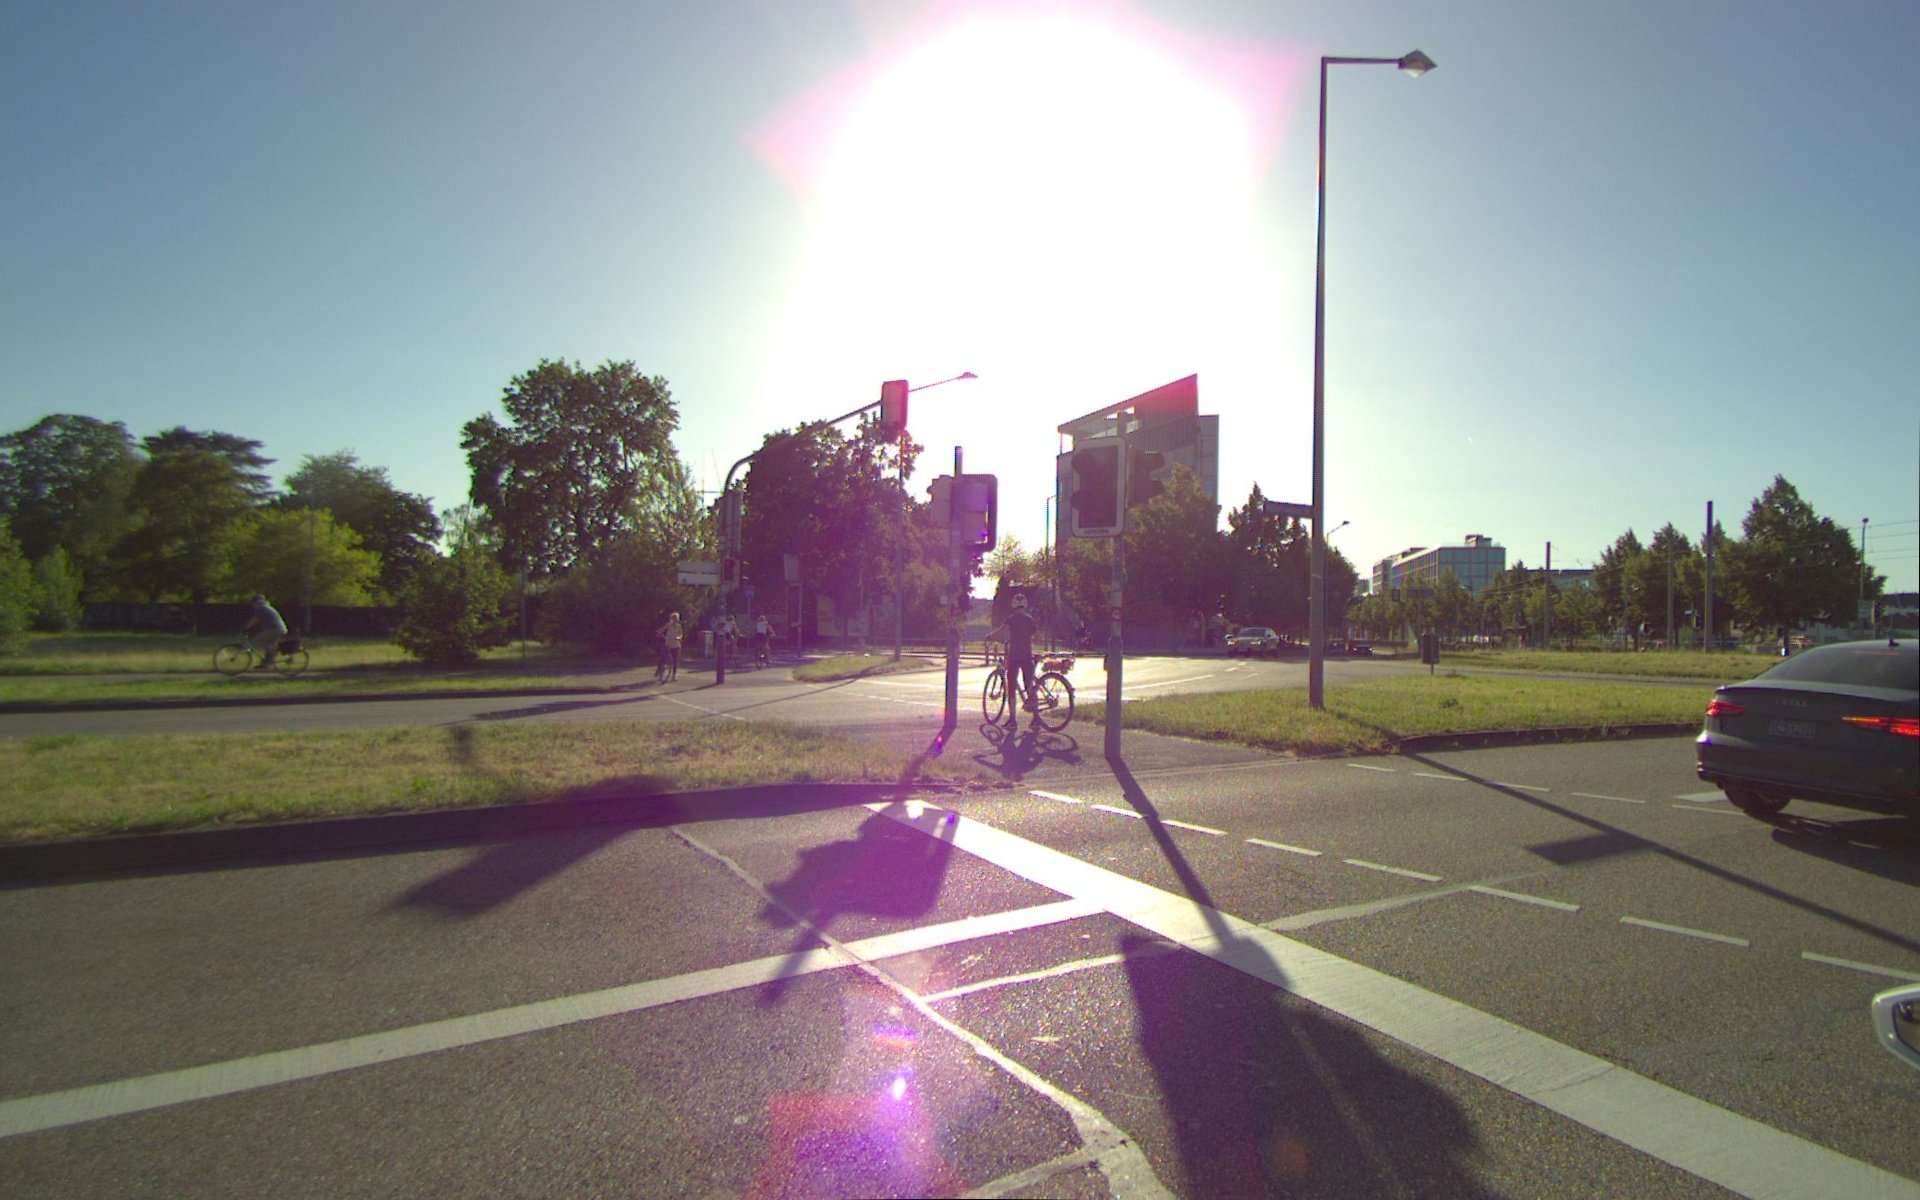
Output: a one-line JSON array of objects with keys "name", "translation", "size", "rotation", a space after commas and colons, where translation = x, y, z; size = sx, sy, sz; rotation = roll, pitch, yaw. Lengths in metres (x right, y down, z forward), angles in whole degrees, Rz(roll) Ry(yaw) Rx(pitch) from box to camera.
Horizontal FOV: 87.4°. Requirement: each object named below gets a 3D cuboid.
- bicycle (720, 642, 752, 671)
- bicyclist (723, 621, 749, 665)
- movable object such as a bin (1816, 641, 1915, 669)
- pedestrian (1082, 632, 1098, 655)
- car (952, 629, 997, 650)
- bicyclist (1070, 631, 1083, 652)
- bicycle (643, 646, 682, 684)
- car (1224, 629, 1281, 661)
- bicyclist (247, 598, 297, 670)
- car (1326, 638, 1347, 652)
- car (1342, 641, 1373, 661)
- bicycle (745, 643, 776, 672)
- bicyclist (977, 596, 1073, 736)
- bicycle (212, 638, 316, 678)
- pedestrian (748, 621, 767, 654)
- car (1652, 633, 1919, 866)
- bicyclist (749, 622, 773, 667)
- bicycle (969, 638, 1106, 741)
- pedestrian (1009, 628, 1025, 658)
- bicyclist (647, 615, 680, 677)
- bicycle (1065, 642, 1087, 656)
[{"name": "bicycle", "translation": [-7.229, 1.806, 32.420], "size": [0.605, 0.864, 1.889], "rotation": [1, -1, 0]}, {"name": "bicyclist", "translation": [-7.239, 1.382, 32.477], "size": [0.605, 1.411, 0.837], "rotation": [1, -1, -1]}, {"name": "movable object such as a bin", "translation": [103.261, 6.267, 114.674], "size": [7.774, 2.819, 2.945], "rotation": [1, -1, 17]}, {"name": "pedestrian", "translation": [9.480, 3.144, 73.379], "size": [0.872, 1.651, 0.758], "rotation": [0, -2, 40]}, {"name": "car", "translation": [1.309, 3.550, 90.778], "size": [3.701, 1.829, 1.824], "rotation": [2, -2, -31]}, {"name": "bicyclist", "translation": [8.993, 3.222, 77.287], "size": [0.652, 1.601, 0.832], "rotation": [0, -2, 36]}, {"name": "bicycle", "translation": [-7.521, 1.626, 25.348], "size": [0.609, 0.864, 1.876], "rotation": [2, -2, -27]}, {"name": "car", "translation": [15.240, 2.335, 52.194], "size": [1.973, 1.561, 4.319], "rotation": [0, -2, 29]}, {"name": "bicyclist", "translation": [-15.504, 0.773, 22.655], "size": [0.842, 1.584, 0.429], "rotation": [2, -1, -30]}, {"name": "car", "translation": [52.255, 6.223, 139.393], "size": [1.739, 1.808, 3.920], "rotation": [1, -1, 6]}, {"name": "car", "translation": [39.169, 5.049, 99.173], "size": [2.413, 1.808, 5.016], "rotation": [1, -1, 17]}, {"name": "bicycle", "translation": [-6.398, 1.850, 32.299], "size": [0.605, 0.864, 1.889], "rotation": [1, -1, 0]}, {"name": "bicyclist", "translation": [0.818, 0.815, 12.727], "size": [0.699, 1.685, 0.931], "rotation": [4, -2, -43]}, {"name": "bicycle", "translation": [-15.611, 1.305, 22.580], "size": [1.867, 0.864, 0.487], "rotation": [2, -1, -30]}, {"name": "pedestrian", "translation": [-12.620, 2.332, 62.672], "size": [0.802, 2.040, 0.902], "rotation": [2, -2, 9]}, {"name": "car", "translation": [7.742, 1.037, 7.696], "size": [4.289, 1.398, 1.759], "rotation": [2, -1, -18]}, {"name": "bicyclist", "translation": [-6.393, 1.424, 32.314], "size": [0.605, 1.411, 0.719], "rotation": [1, -1, -1]}, {"name": "bicycle", "translation": [0.949, 1.090, 12.582], "size": [0.699, 1.143, 1.634], "rotation": [4, -2, -43]}, {"name": "pedestrian", "translation": [4.024, 3.036, 71.007], "size": [0.581, 2.032, 0.938], "rotation": [0, -2, 45]}, {"name": "bicyclist", "translation": [-7.485, 1.155, 25.313], "size": [0.609, 1.537, 0.919], "rotation": [2, -1, -27]}, {"name": "bicycle", "translation": [8.952, 3.763, 77.265], "size": [0.652, 1.001, 2.255], "rotation": [0, -2, 36]}]
